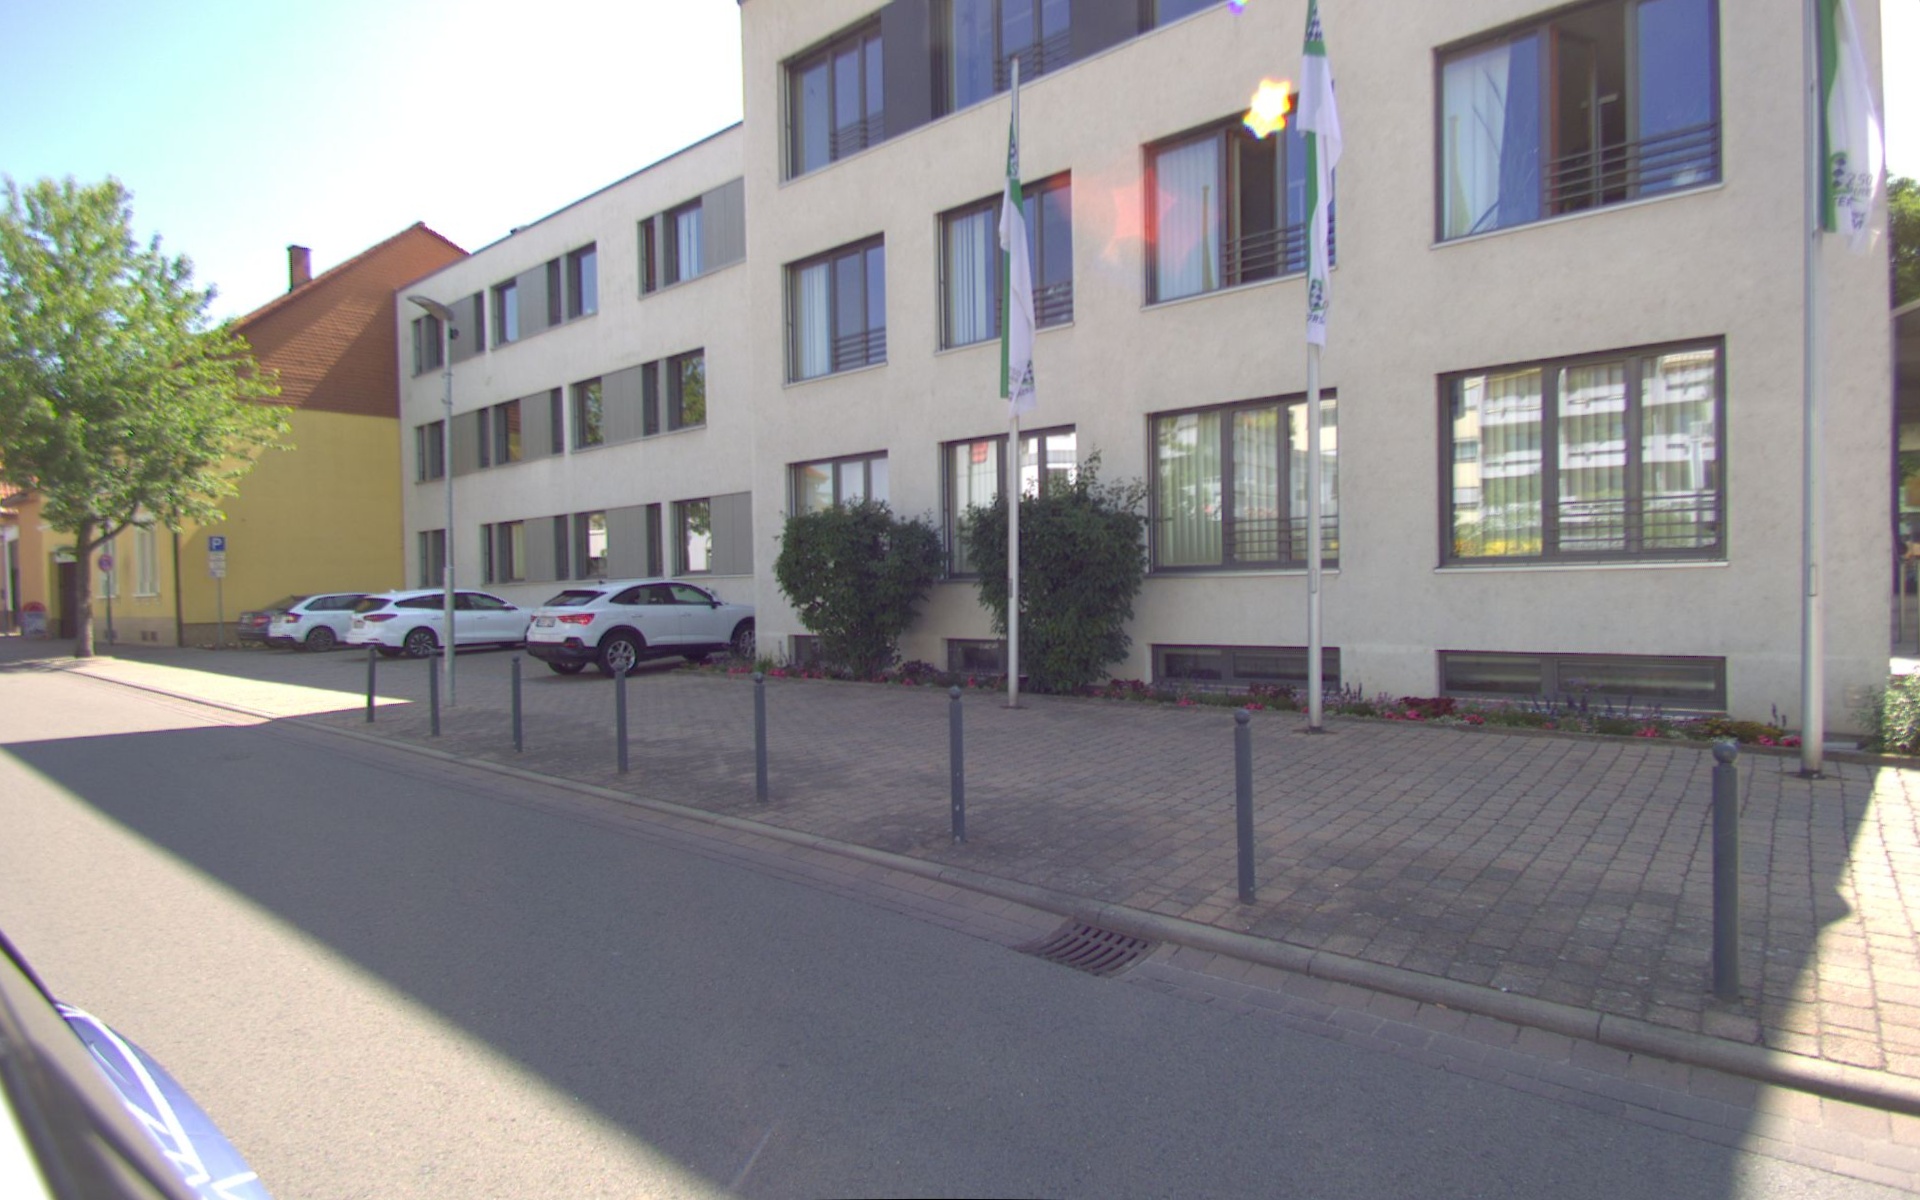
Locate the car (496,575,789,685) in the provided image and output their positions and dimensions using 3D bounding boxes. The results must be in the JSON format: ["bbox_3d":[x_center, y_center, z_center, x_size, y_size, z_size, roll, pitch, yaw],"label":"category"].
[{"bbox_3d":[-5.434,0.422,17.799,2.145,1.565,4.463,-1,2,38],"label":"car"}]

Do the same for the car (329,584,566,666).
[{"bbox_3d":[-11.656,0.489,23.286,1.933,1.565,4.459,1,3,40],"label":"car"}]

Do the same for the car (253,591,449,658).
[{"bbox_3d":[-15.728,0.588,26.280,1.806,1.462,3.947,-1,1,40],"label":"car"}]

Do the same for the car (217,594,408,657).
[{"bbox_3d":[-17.719,0.663,27.834,1.968,1.442,3.952,-2,2,36],"label":"car"}]
